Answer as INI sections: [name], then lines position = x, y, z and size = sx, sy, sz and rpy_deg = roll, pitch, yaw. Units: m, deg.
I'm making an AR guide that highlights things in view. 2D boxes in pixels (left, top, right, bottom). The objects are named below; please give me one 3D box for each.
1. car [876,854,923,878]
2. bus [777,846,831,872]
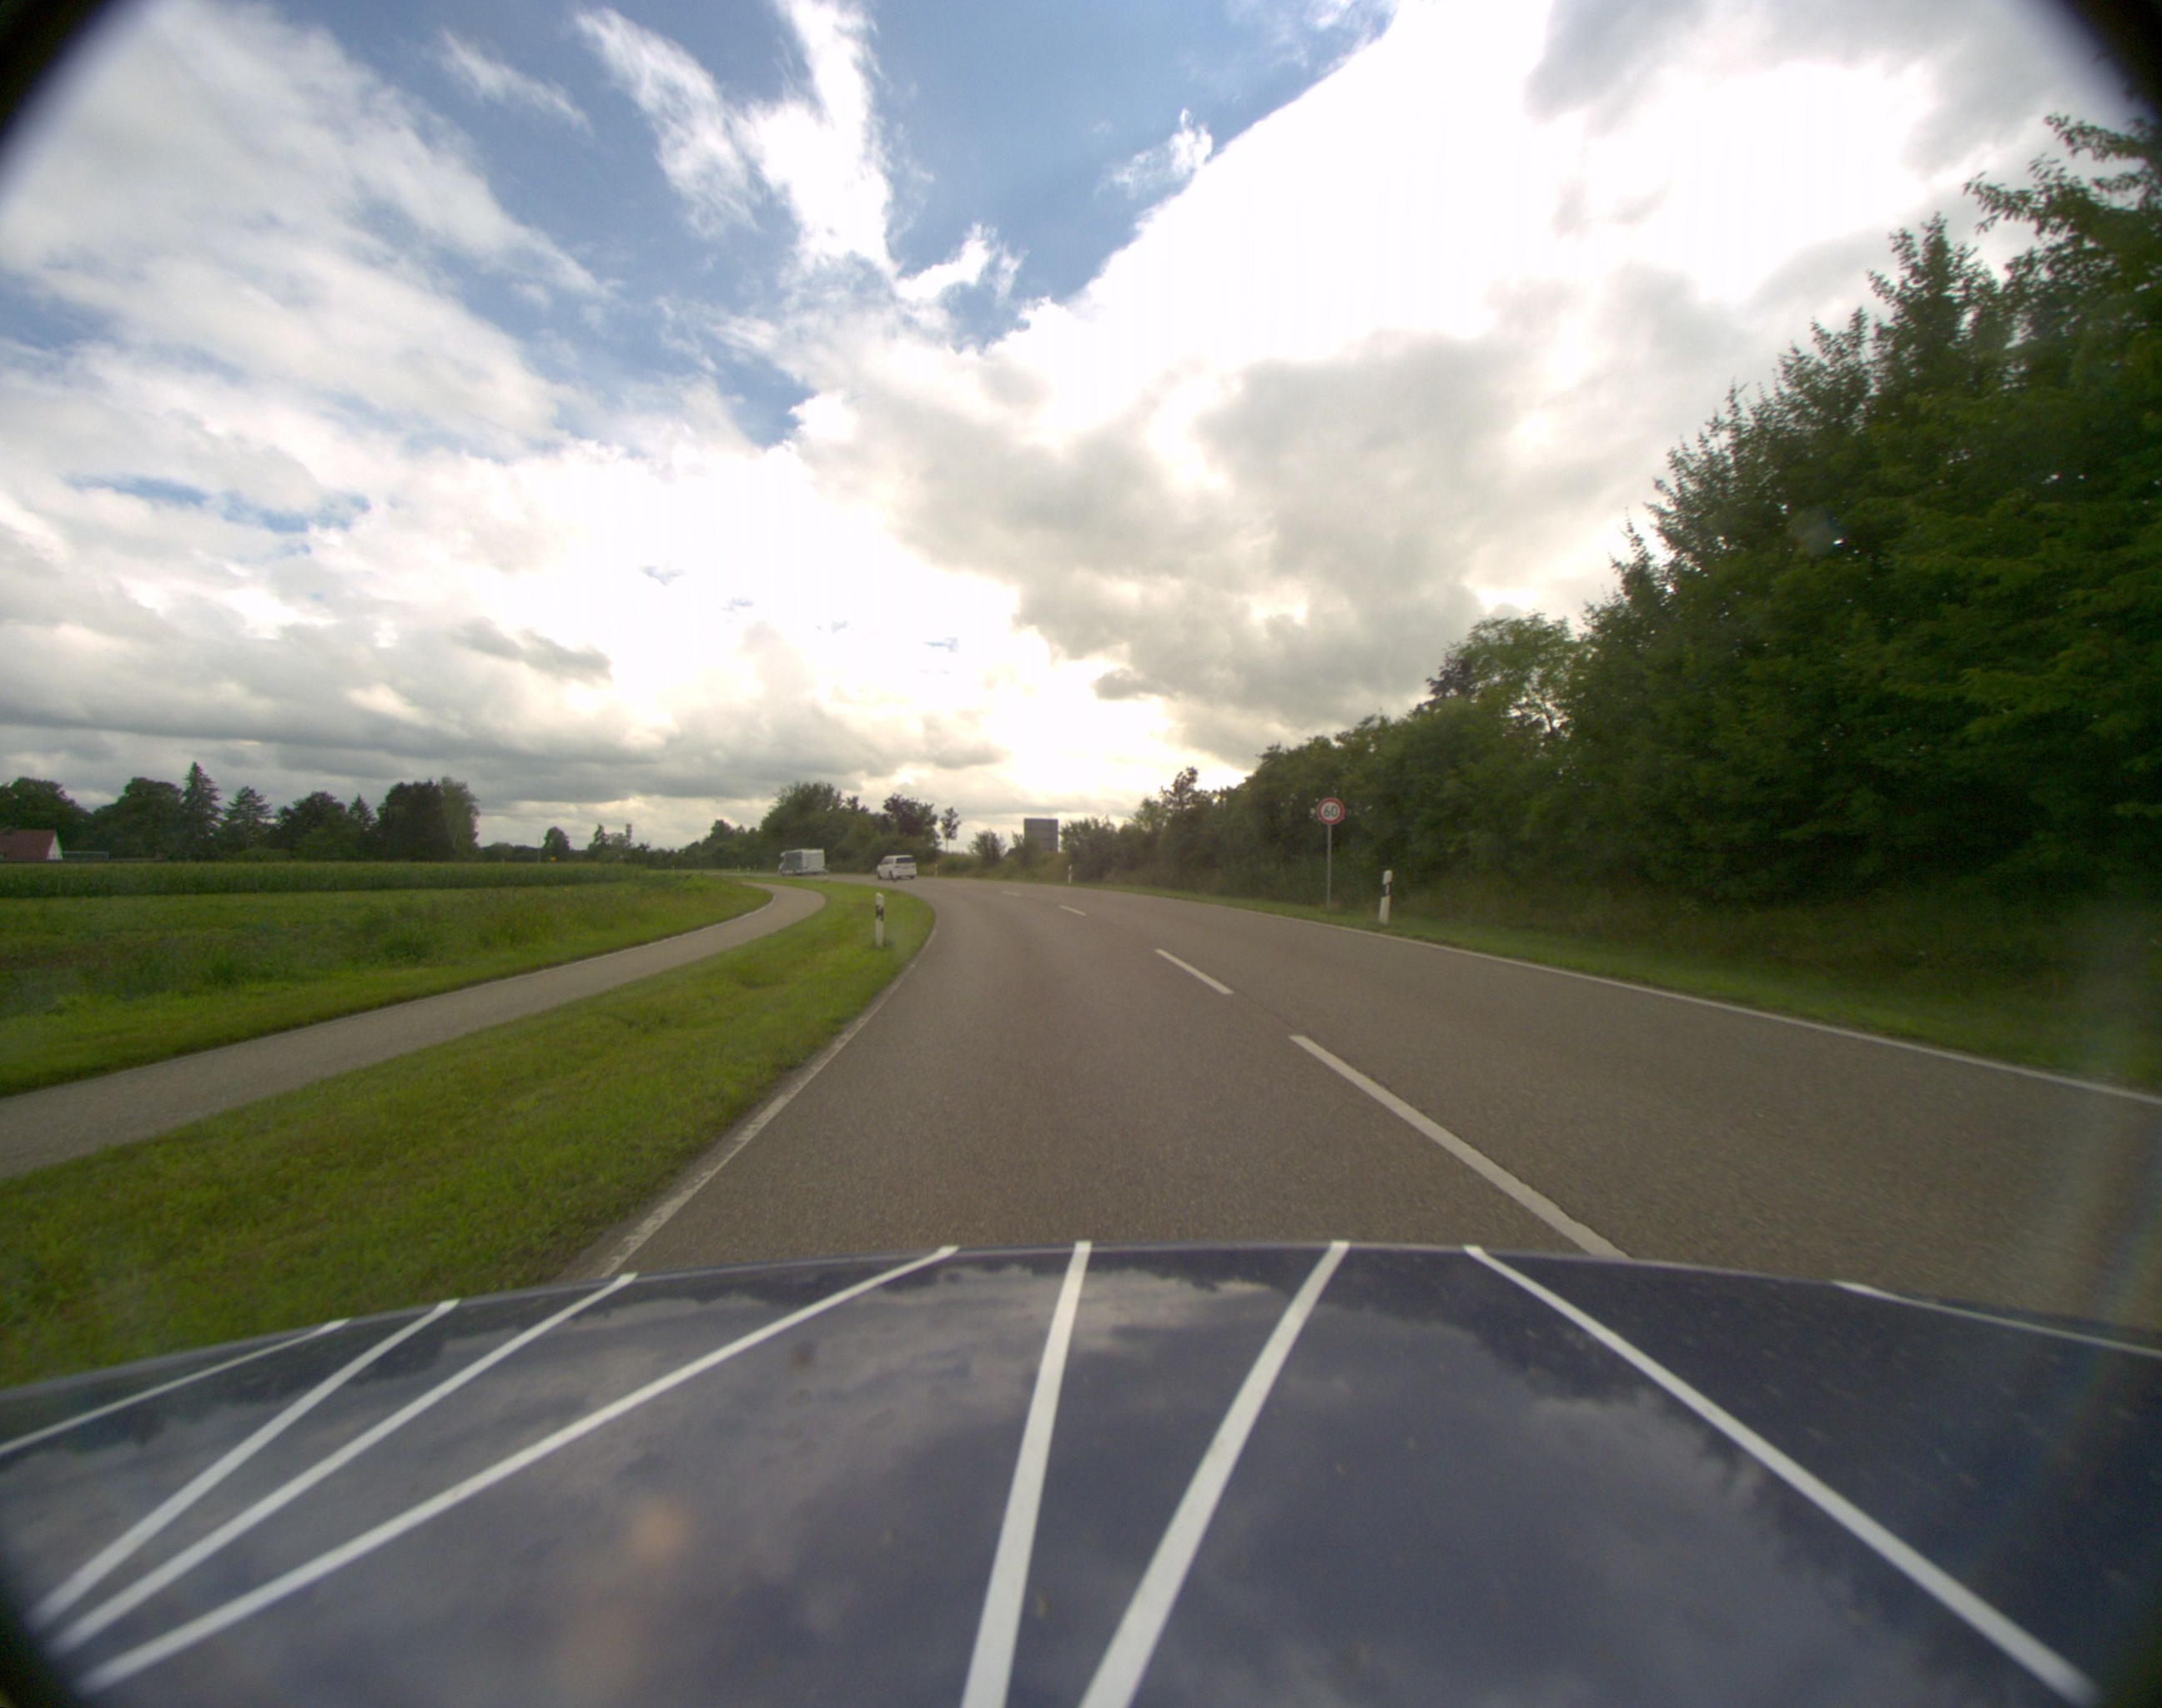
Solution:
[car]
position = -15.015, 0.941, 62.737
size = 2.124, 1.858, 5.173
rpy_deg = -1, 0, -33
[bus]
position = -30.251, 0.564, 82.787
size = 2.488, 2.695, 8.407
rpy_deg = -2, 1, -42
